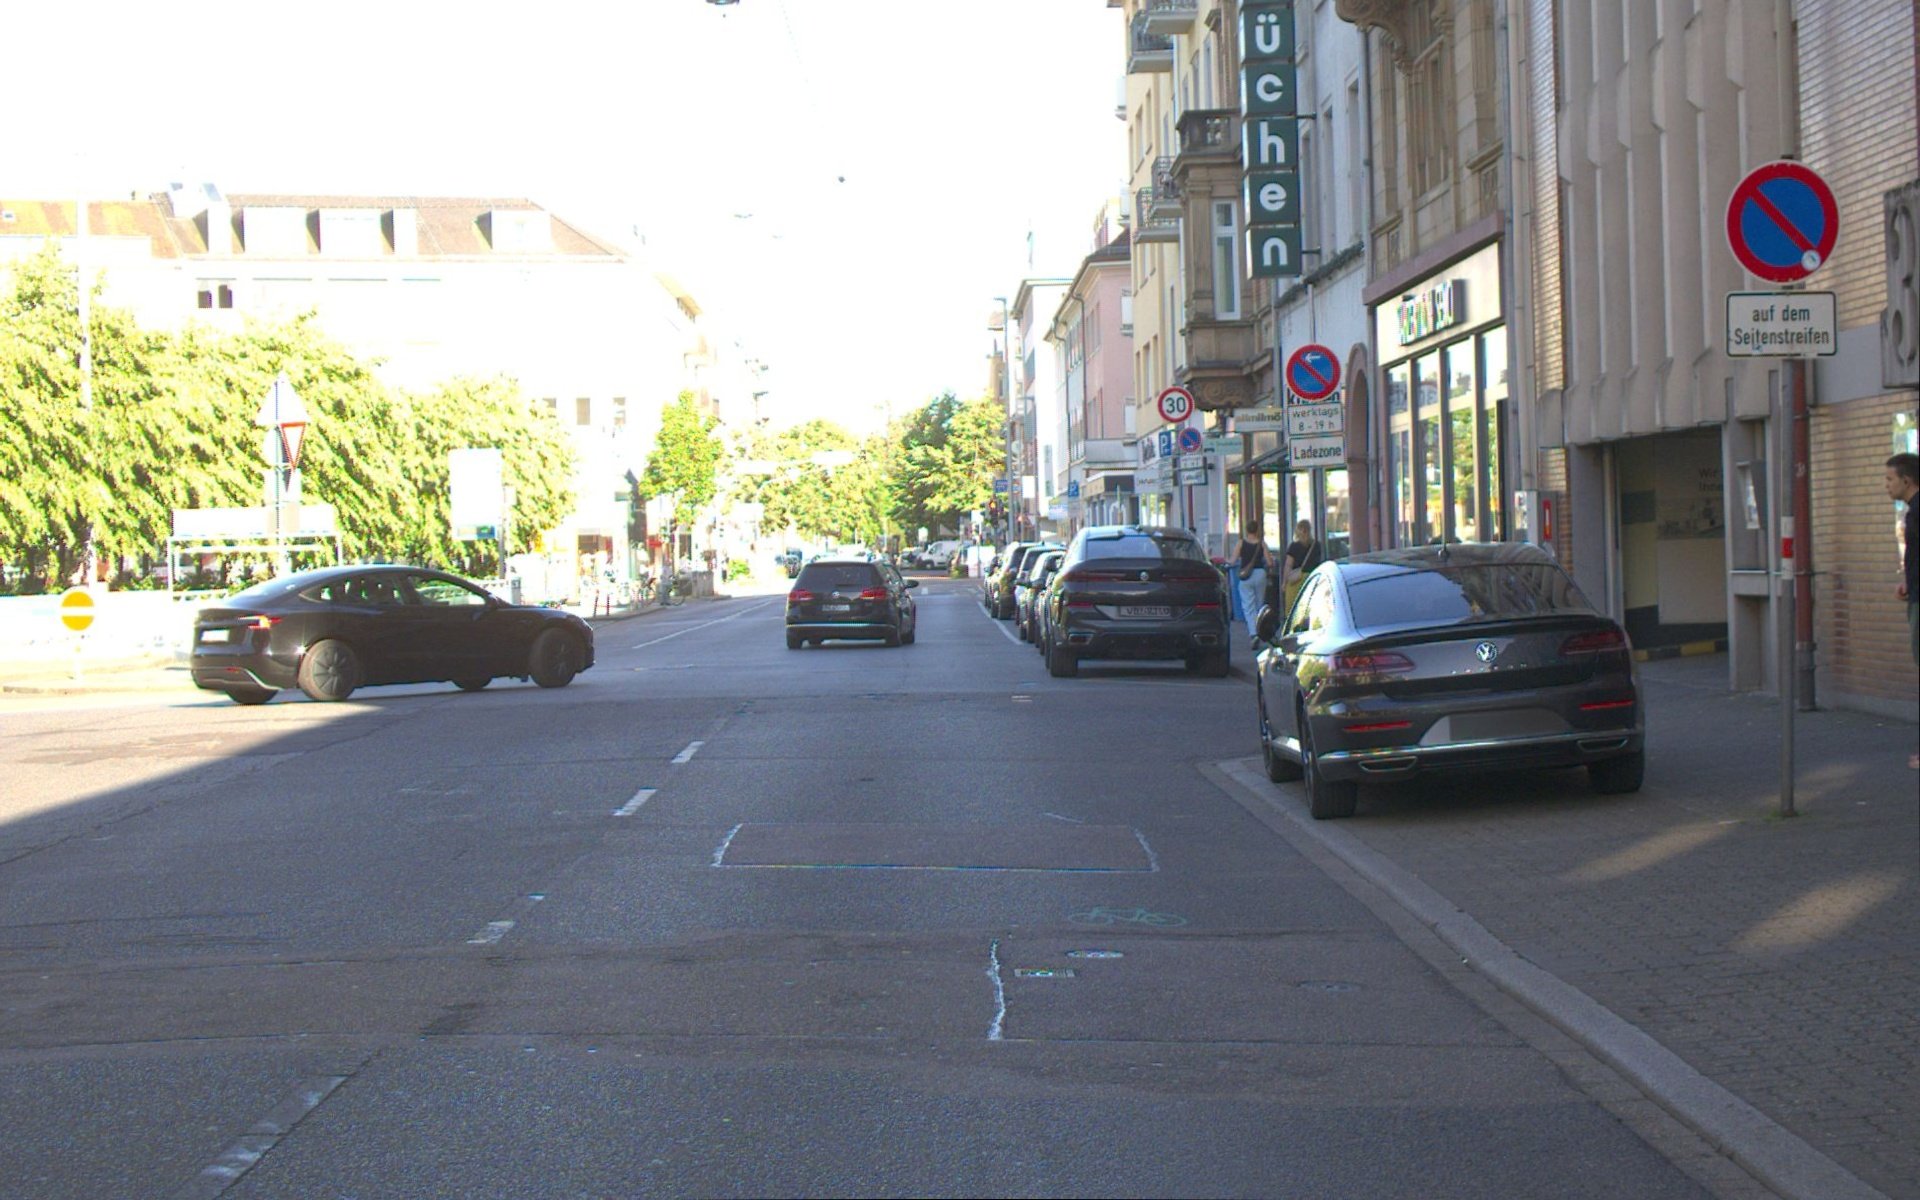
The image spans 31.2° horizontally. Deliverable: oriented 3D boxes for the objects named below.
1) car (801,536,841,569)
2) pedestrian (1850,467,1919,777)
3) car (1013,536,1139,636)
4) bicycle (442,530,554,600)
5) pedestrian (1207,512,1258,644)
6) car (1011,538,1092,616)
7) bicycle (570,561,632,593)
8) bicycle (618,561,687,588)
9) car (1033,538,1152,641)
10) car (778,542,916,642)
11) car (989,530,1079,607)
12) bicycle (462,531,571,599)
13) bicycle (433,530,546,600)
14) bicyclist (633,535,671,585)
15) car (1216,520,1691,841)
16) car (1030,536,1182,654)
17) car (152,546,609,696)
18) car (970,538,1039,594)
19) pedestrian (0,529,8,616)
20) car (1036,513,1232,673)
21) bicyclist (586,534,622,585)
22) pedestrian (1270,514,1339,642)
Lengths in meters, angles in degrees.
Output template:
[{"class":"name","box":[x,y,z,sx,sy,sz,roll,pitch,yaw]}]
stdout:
[{"class":"car","box":[-7.692,-2.632,190.839,1.993,1.765,4.000,0,2,1]},{"class":"pedestrian","box":[5.334,0.090,18.596,0.691,1.630,0.889,-4,1,-1]},{"class":"car","box":[1.870,-0.261,56.619,1.839,1.541,4.229,0,1,-1]},{"class":"bicycle","box":[-13.746,-1.050,102.266,3.122,2.007,0.908,-1,1,9]},{"class":"pedestrian","box":[3.672,-0.304,46.395,0.620,1.760,0.518,-1,1,2]},{"class":"car","box":[1.841,-0.486,69.767,1.613,1.541,2.855,0,1,1]},{"class":"bicycle","box":[-12.054,-0.779,115.505,2.011,1.018,0.762,-1,1,-4]},{"class":"bicycle","box":[-10.515,-0.870,117.543,2.244,0.880,0.923,-1,1,3]},{"class":"car","box":[1.941,-0.189,51.280,1.608,1.444,3.830,0,1,0]},{"class":"car","box":[-1.756,-0.159,54.668,1.935,1.482,4.271,-1,1,1]},{"class":"car","box":[1.586,-0.676,75.269,1.716,1.630,4.085,0,0,-2]},{"class":"bicycle","box":[-13.453,-1.070,104.303,3.122,2.007,0.908,-1,1,9]},{"class":"bicycle","box":[-13.854,-1.032,101.310,3.122,2.007,0.908,-1,1,9]},{"class":"bicyclist","box":[-10.517,-1.373,117.548,1.146,1.680,0.915,-1,1,3]},{"class":"car","box":[2.720,0.361,20.134,1.917,1.473,4.965,-5,1,0]},{"class":"car","box":[1.923,-0.104,46.415,1.839,1.482,4.184,0,1,0]},{"class":"car","box":[-6.288,0.188,37.539,4.482,1.475,2.001,-2,1,-38]},{"class":"car","box":[1.176,-0.903,92.911,1.792,1.455,3.868,0,0,0]},{"class":"pedestrian","box":[-23.656,-0.655,83.115,0.733,2.101,0.966,-1,1,22]},{"class":"car","box":[1.930,-0.132,39.437,1.973,1.719,4.824,0,1,0]},{"class":"bicyclist","box":[-11.970,-1.363,115.505,1.146,1.680,0.819,-1,1,-4]},{"class":"pedestrian","box":[4.640,-0.296,46.386,0.801,1.669,0.589,-3,1,2]}]
